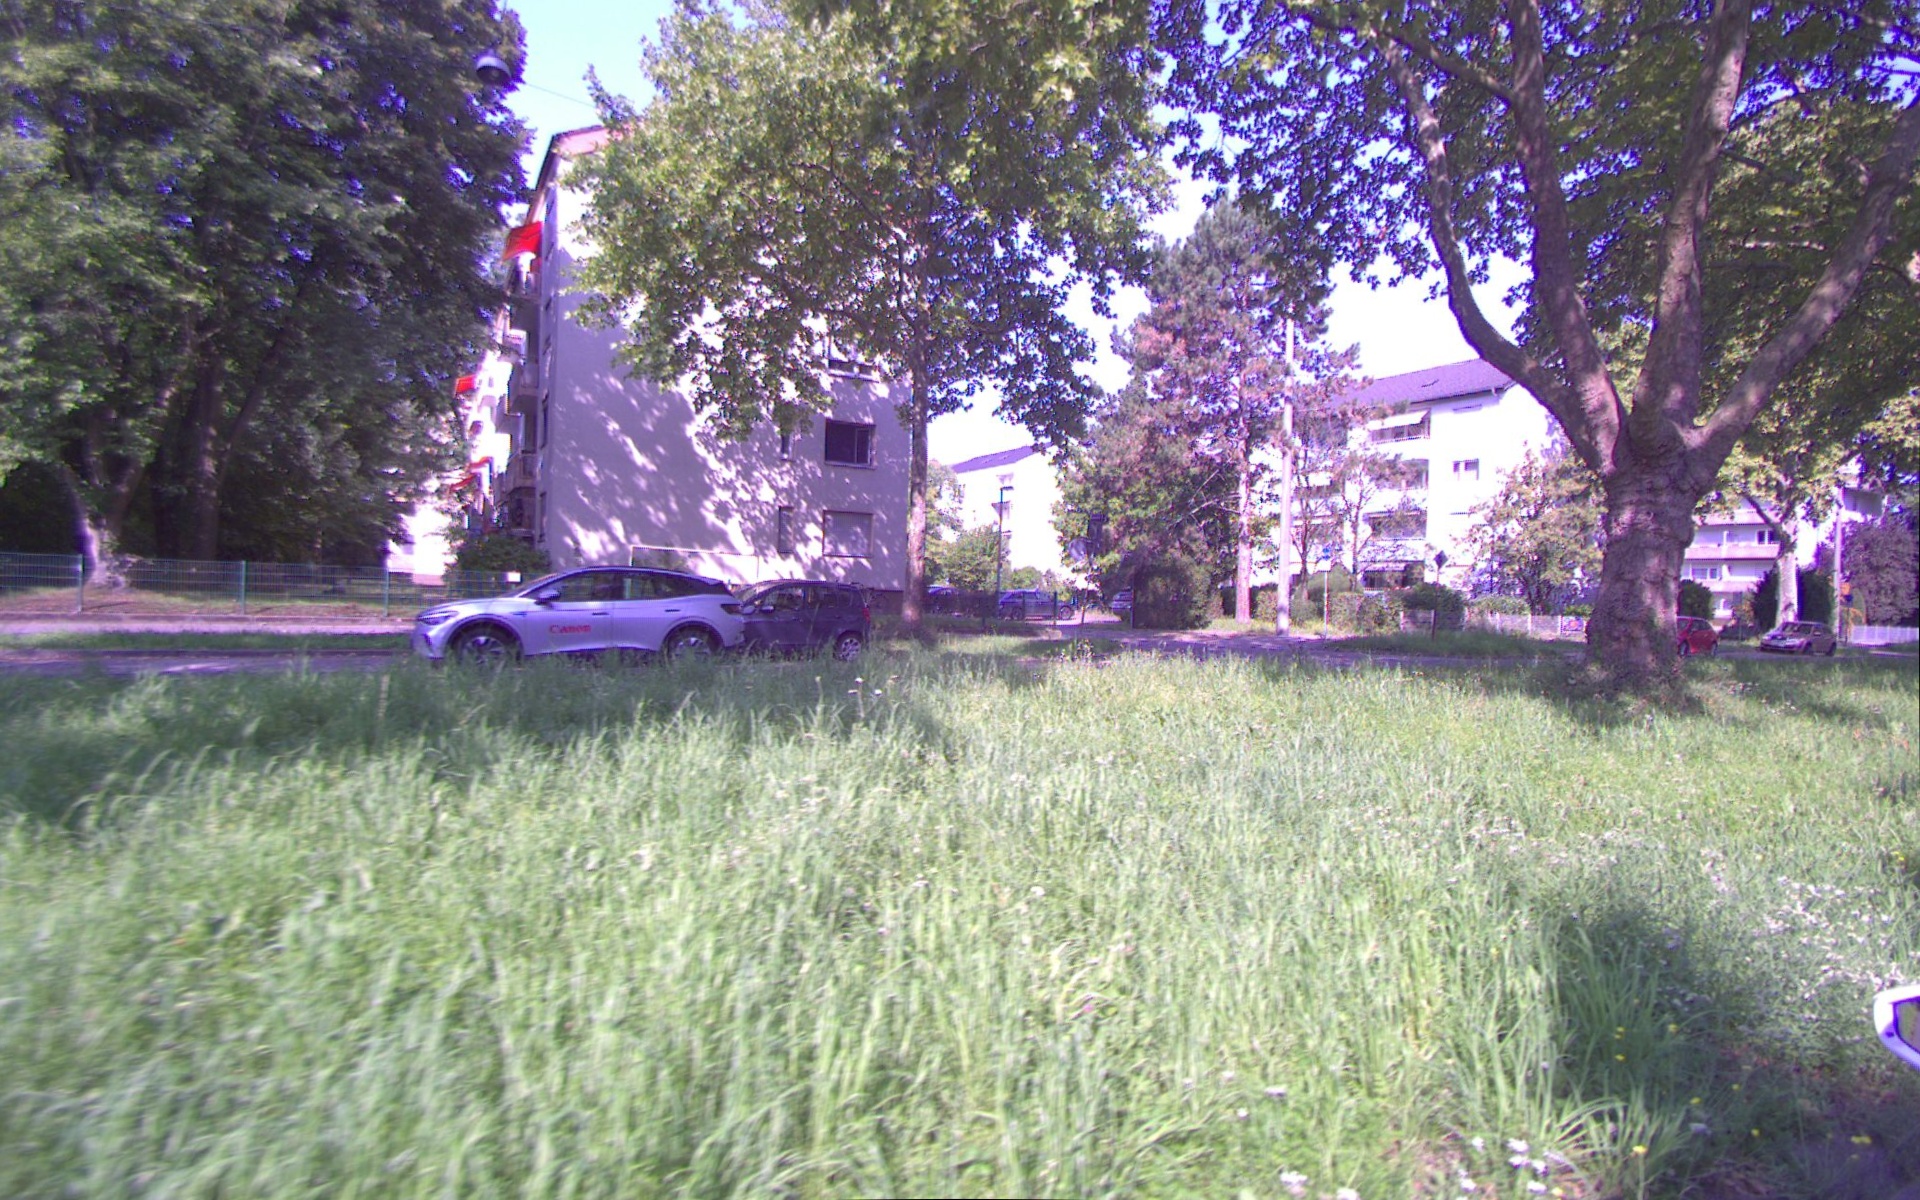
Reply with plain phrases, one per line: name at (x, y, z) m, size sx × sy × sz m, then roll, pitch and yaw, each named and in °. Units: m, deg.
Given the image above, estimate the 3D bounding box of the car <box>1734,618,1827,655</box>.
car at (35.307, 1.564, 43.192) m, size 4.017 × 1.449 × 1.793 m, roll 2°, pitch 1°, yaw -31°

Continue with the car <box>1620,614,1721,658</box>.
car at (26.407, 1.360, 37.310) m, size 4.017 × 1.471 × 1.531 m, roll 2°, pitch 1°, yaw -31°

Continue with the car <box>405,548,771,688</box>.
car at (-5.259, 0.265, 14.404) m, size 4.665 × 1.743 × 1.793 m, roll 2°, pitch 0°, yaw -31°

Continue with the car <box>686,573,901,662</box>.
car at (-3.217, 0.351, 19.472) m, size 3.812 × 1.553 × 1.518 m, roll 2°, pitch 0°, yaw -26°

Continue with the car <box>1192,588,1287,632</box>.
car at (13.523, 0.504, 48.558) m, size 4.210 × 1.926 × 1.838 m, roll 2°, pitch 1°, yaw -27°

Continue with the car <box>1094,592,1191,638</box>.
car at (8.276, 0.655, 45.541) m, size 3.924 × 1.795 × 1.999 m, roll 3°, pitch 1°, yaw 24°

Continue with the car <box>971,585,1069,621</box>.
car at (2.917, 0.150, 48.686) m, size 4.392 × 1.490 × 1.838 m, roll 2°, pitch 1°, yaw -27°
